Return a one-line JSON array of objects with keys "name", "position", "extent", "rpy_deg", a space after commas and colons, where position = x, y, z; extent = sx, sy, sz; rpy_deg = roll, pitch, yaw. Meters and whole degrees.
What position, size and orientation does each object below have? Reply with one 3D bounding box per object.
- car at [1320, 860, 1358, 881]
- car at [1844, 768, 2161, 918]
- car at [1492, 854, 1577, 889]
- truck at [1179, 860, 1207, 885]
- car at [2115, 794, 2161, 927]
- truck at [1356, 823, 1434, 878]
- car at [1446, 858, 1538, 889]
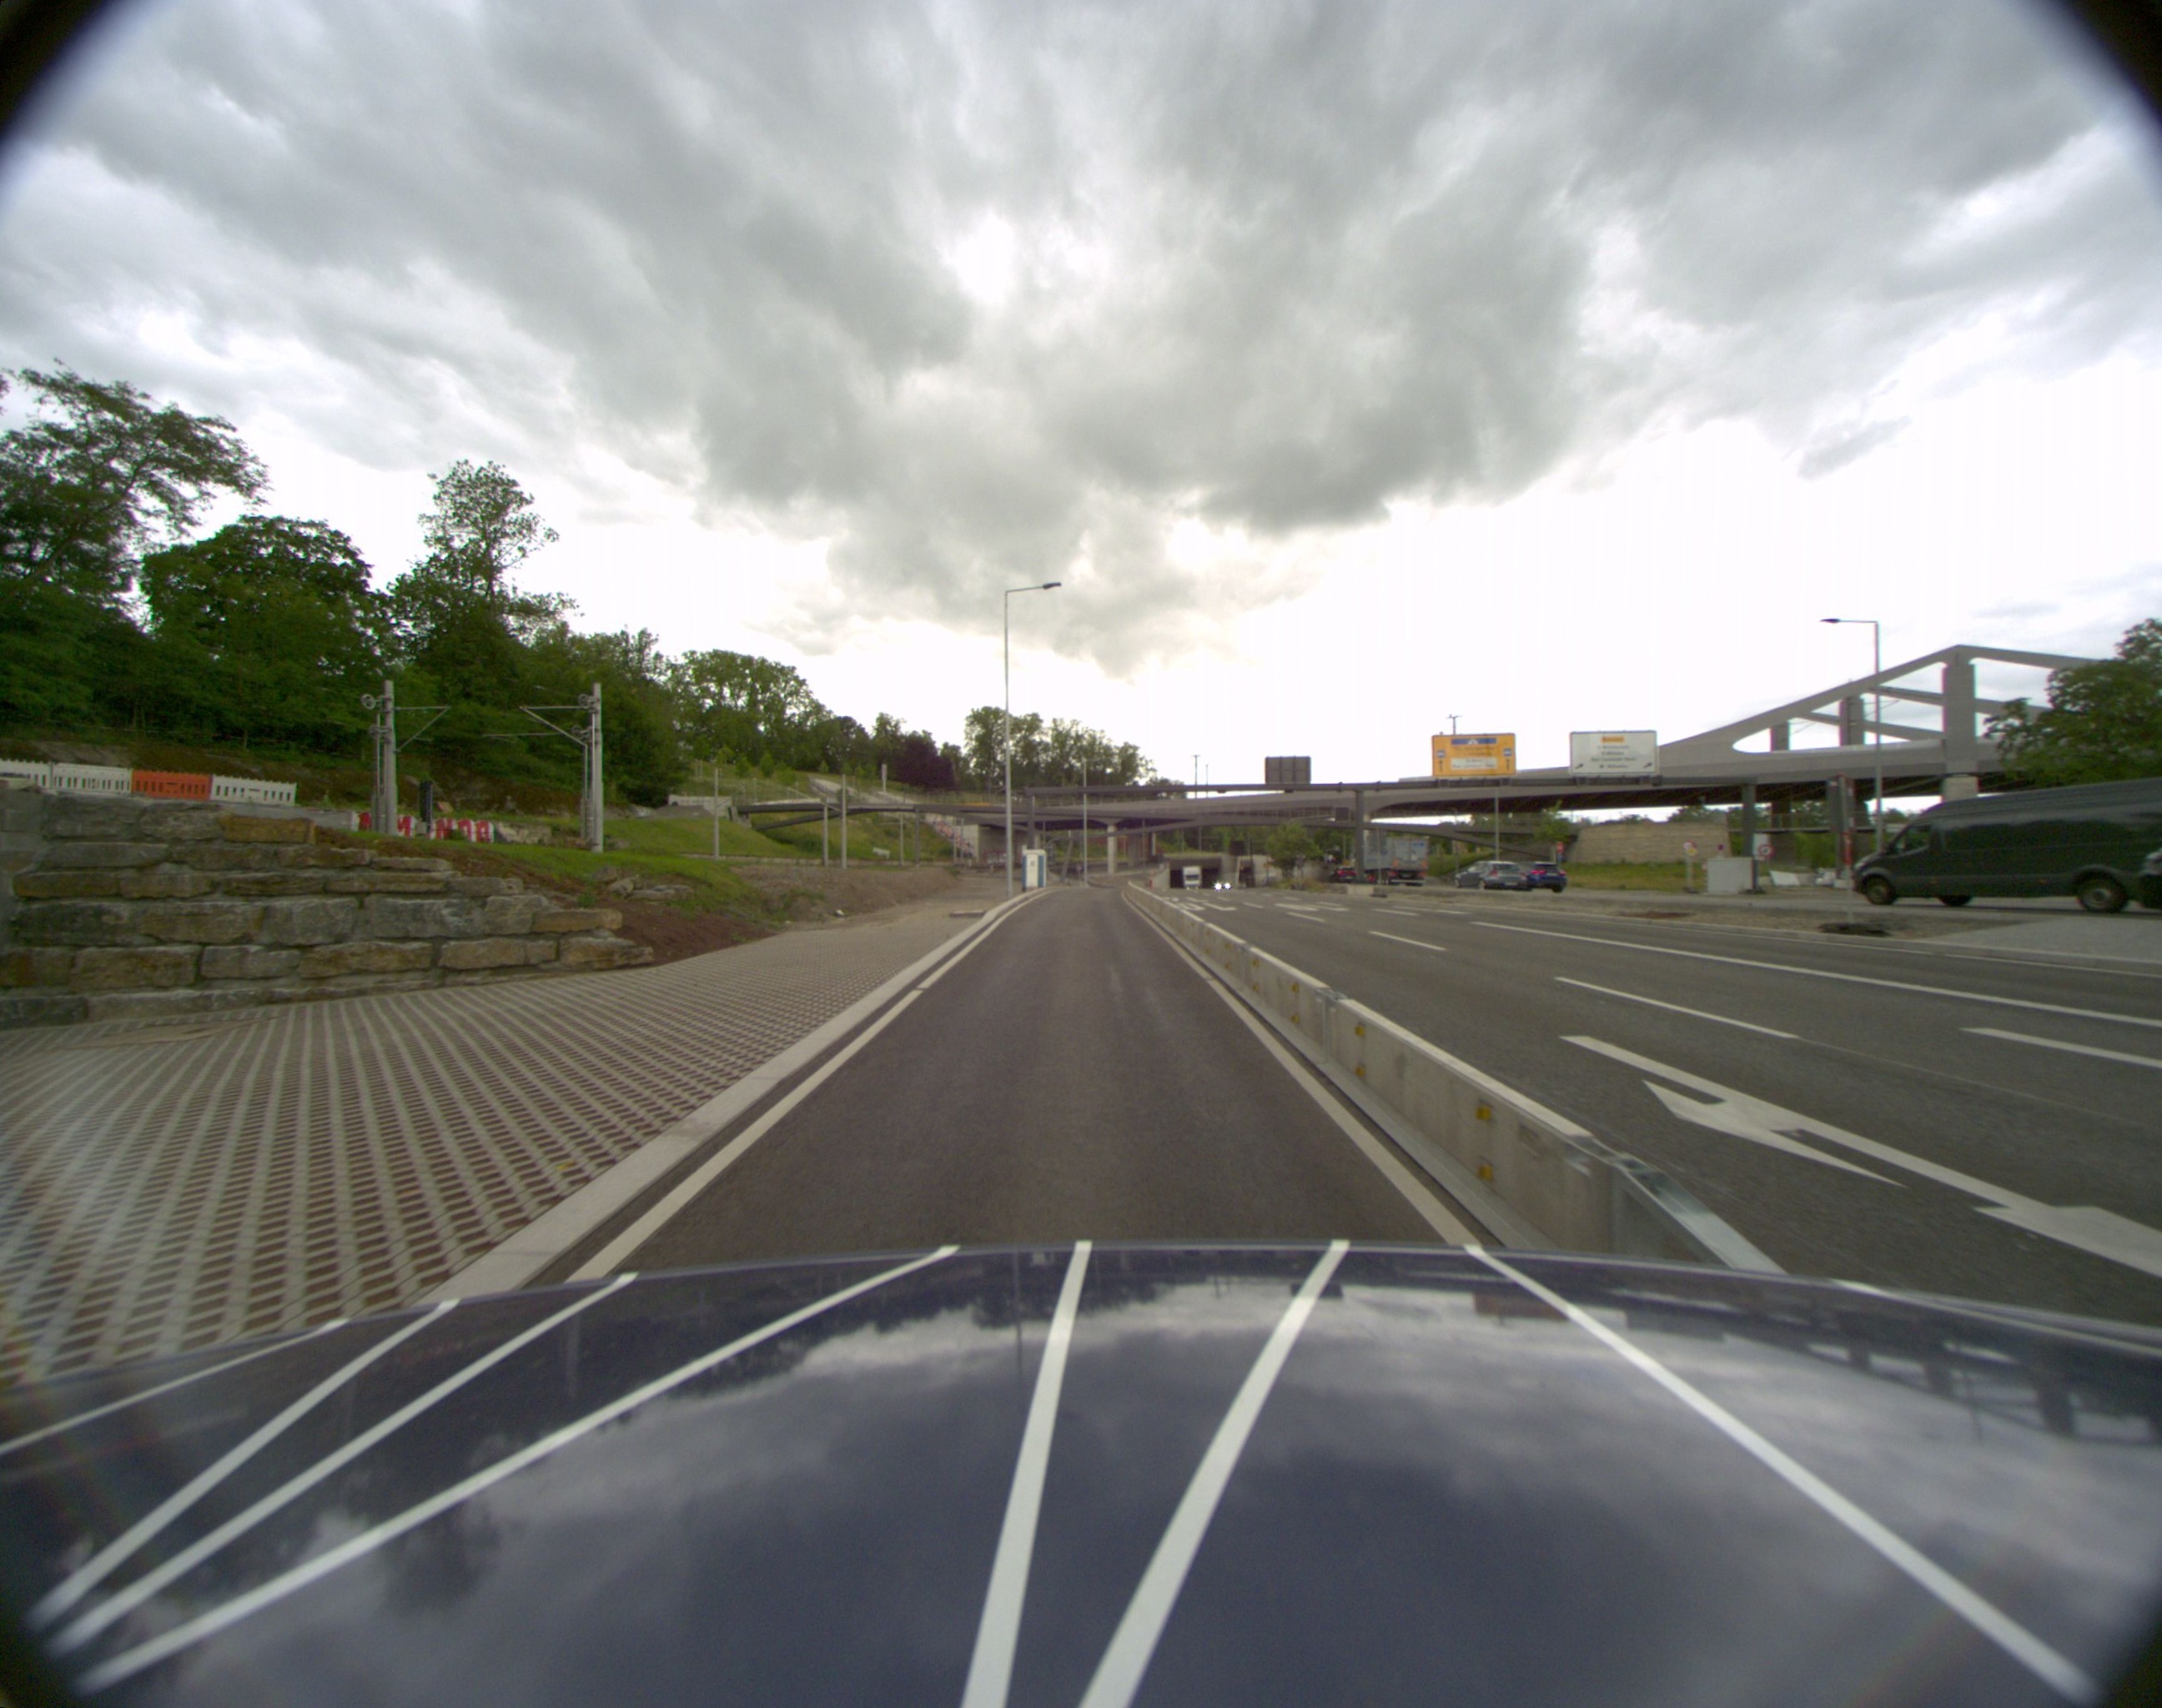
[{"name": "car", "position": [21.078, 1.325, 62.271], "extent": [1.710, 1.611, 4.453], "rpy_deg": [3, -1, 2]}, {"name": "car", "position": [21.181, -0.182, 16.954], "extent": [2.220, 2.760, 6.147], "rpy_deg": [-2, -1, 2]}, {"name": "car", "position": [24.162, 0.933, 40.662], "extent": [1.890, 1.673, 4.489], "rpy_deg": [-2, -1, 1]}, {"name": "truck", "position": [14.462, 2.359, 98.460], "extent": [2.747, 3.108, 8.122], "rpy_deg": [-2, -1, 3]}, {"name": "car", "position": [17.133, 0.031, 9.306], "extent": [1.967, 2.001, 5.191], "rpy_deg": [-1, -1, 3]}, {"name": "truck", "position": [25.667, -0.085, 62.955], "extent": [2.904, 4.037, 14.003], "rpy_deg": [0, -1, 10]}, {"name": "car", "position": [18.380, 0.874, 34.206], "extent": [1.890, 1.323, 4.258], "rpy_deg": [0, -1, 1]}]
